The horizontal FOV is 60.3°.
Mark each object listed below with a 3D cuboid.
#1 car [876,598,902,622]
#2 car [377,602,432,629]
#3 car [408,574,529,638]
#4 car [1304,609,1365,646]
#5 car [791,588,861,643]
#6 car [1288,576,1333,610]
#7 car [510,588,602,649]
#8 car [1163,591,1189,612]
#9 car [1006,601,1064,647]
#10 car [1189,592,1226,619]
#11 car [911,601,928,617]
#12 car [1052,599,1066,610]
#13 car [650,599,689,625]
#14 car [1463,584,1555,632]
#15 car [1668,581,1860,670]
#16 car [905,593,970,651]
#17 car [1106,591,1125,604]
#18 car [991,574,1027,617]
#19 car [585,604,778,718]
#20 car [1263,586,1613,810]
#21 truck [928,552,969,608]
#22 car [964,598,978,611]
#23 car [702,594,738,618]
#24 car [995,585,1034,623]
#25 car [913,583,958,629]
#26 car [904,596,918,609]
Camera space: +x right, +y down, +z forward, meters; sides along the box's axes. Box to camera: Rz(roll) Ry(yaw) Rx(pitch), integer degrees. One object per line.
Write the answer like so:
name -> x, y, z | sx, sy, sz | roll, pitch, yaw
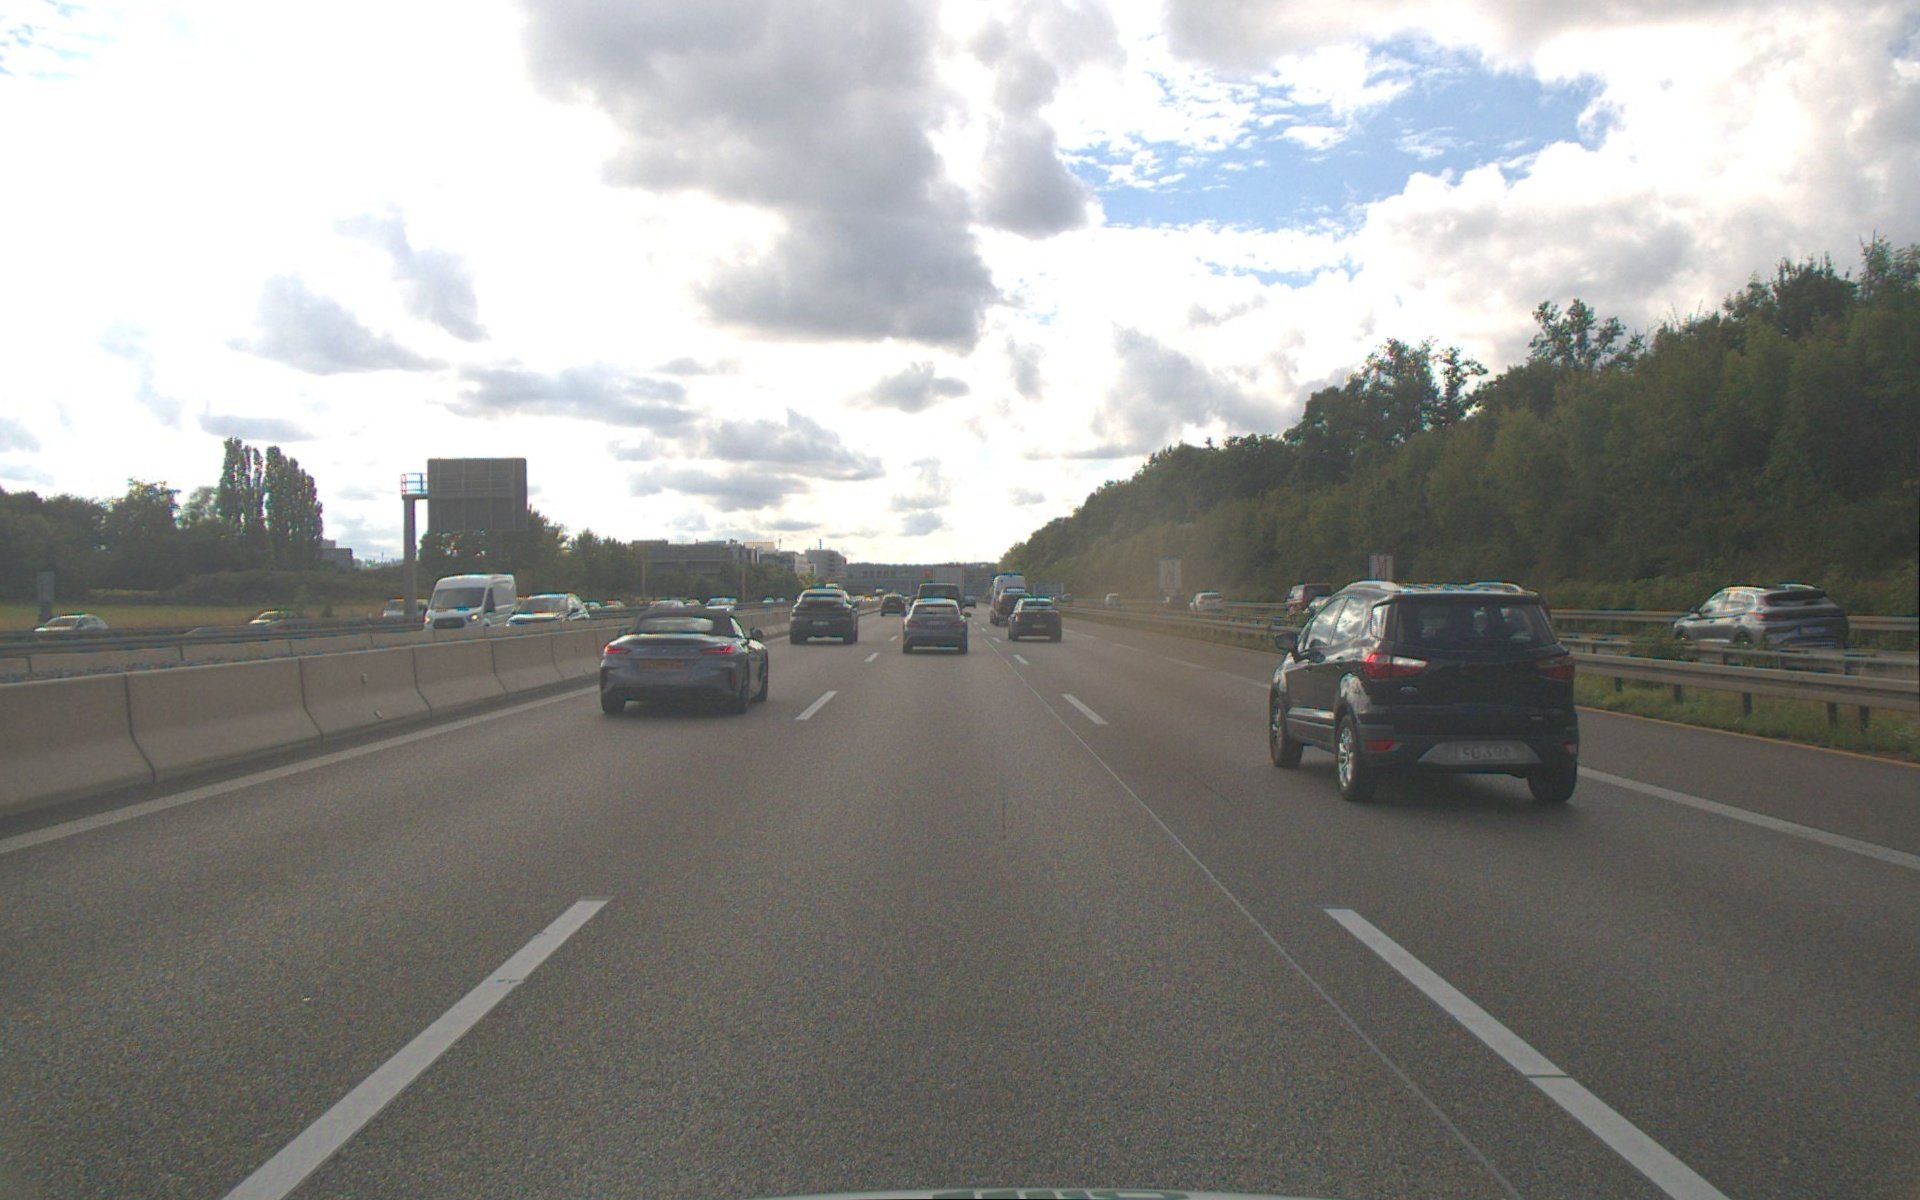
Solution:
car -> -5.307, 0.747, 123.646 | 1.835, 1.727, 4.071 | 0, 0, -1
car -> -37.834, 1.033, 112.798 | 1.953, 1.730, 5.632 | 0, 0, -2
car -> -16.367, 0.181, 55.423 | 2.307, 2.001, 5.833 | 0, 0, 0
car -> 16.268, 1.172, 72.042 | 1.563, 1.573, 4.188 | 0, 0, -2
car -> -4.228, 0.453, 53.023 | 1.873, 1.664, 5.499 | 0, 0, -1
car -> 19.436, -0.361, 91.704 | 1.563, 1.835, 3.823 | 0, 0, -2
car -> -12.414, 0.528, 51.101 | 1.727, 1.761, 4.702 | 1, 0, -1
car -> 18.724, 0.130, 143.505 | 1.716, 1.725, 4.189 | 0, 0, -1
car -> 2.598, 0.809, 58.189 | 1.795, 1.547, 4.224 | 0, 0, -1
car -> 16.147, 0.342, 108.068 | 1.716, 1.725, 4.189 | 0, 0, -1
car -> -4.163, 0.907, 169.574 | 1.663, 1.639, 4.113 | 0, 0, -1
car -> 14.104, 0.621, 236.624 | 1.693, 1.560, 4.452 | -1, 0, -1
car -> -16.878, 0.685, 96.261 | 1.604, 1.428, 4.490 | 0, 0, -2
car -> 19.554, 0.257, 59.093 | 1.694, 1.573, 4.304 | -2, 0, -2
car -> 16.557, 0.478, 34.321 | 1.809, 1.679, 4.305 | -2, 0, -1
car -> -0.611, 0.554, 45.308 | 1.686, 1.505, 4.390 | 0, 0, -1
car -> 18.574, -0.331, 197.905 | 1.716, 1.543, 4.189 | 0, 0, -2
car -> 2.737, -0.261, 93.364 | 1.835, 2.399, 4.281 | 0, 0, -1
car -> -3.624, 0.746, 22.398 | 1.835, 1.325, 4.941 | 0, 0, -1
car -> 3.774, 0.687, 13.813 | 1.663, 1.592, 4.113 | 0, 0, -1
truck -> -0.972, -1.599, 138.357 | 3.196, 4.451, 11.024 | 1, 0, -1
car -> 1.392, 0.574, 212.917 | 1.716, 1.725, 4.189 | 0, 0, -1
car -> -15.922, 0.381, 109.904 | 1.727, 1.559, 4.716 | 0, 0, 0
car -> 2.821, 0.188, 86.382 | 1.874, 1.952, 4.030 | 0, 0, -1
car -> -0.949, 0.222, 65.062 | 1.686, 1.754, 4.390 | 0, 0, -1
car -> -7.240, 0.386, 243.940 | 1.953, 1.847, 4.566 | 0, 0, -1
